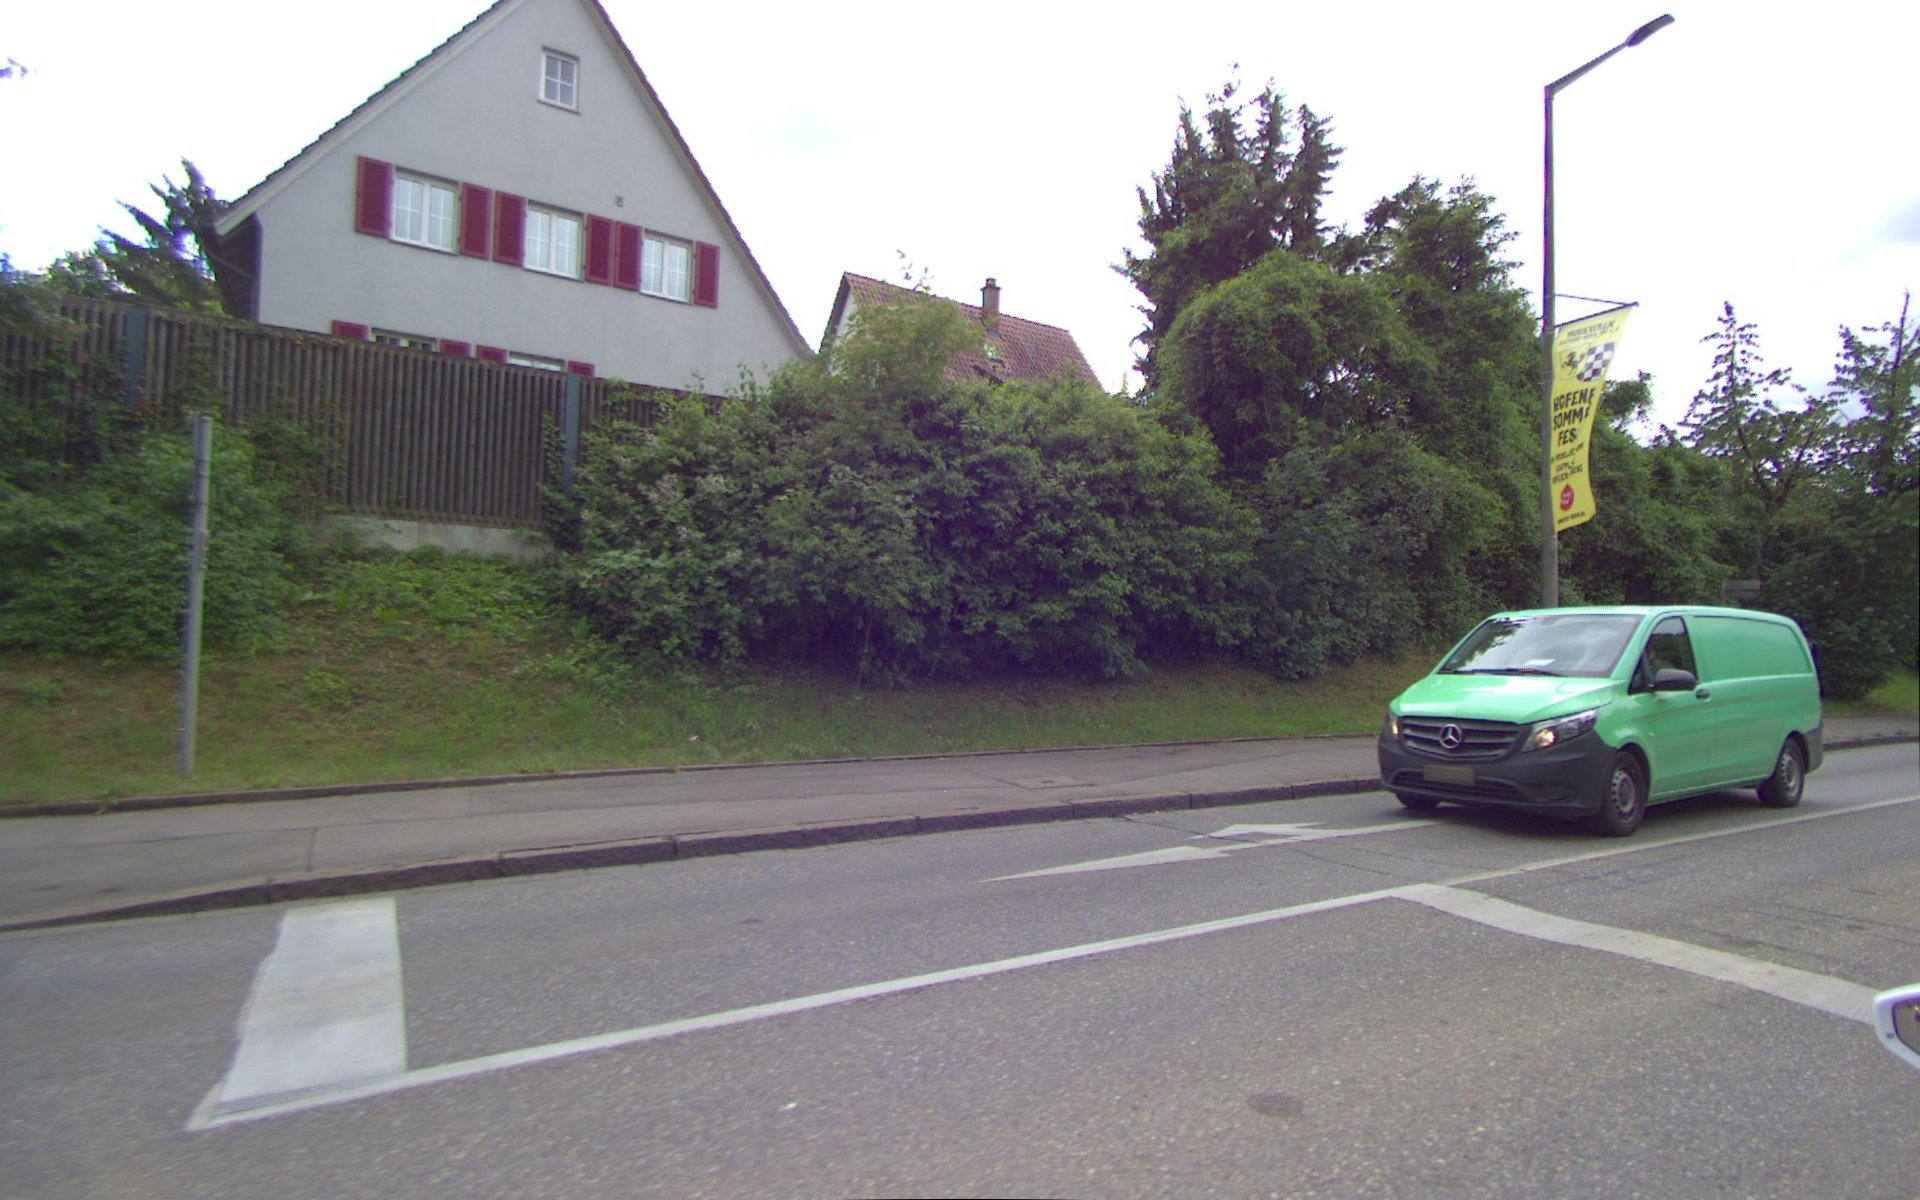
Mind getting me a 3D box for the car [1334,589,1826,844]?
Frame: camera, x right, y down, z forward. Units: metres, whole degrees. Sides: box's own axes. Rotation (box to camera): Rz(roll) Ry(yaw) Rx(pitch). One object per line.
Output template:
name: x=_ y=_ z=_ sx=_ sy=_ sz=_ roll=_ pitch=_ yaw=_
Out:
car: x=5.873 y=0.976 z=9.382 sx=4.677 sy=1.833 sz=2.048 roll=3 pitch=-4 yaw=-32
